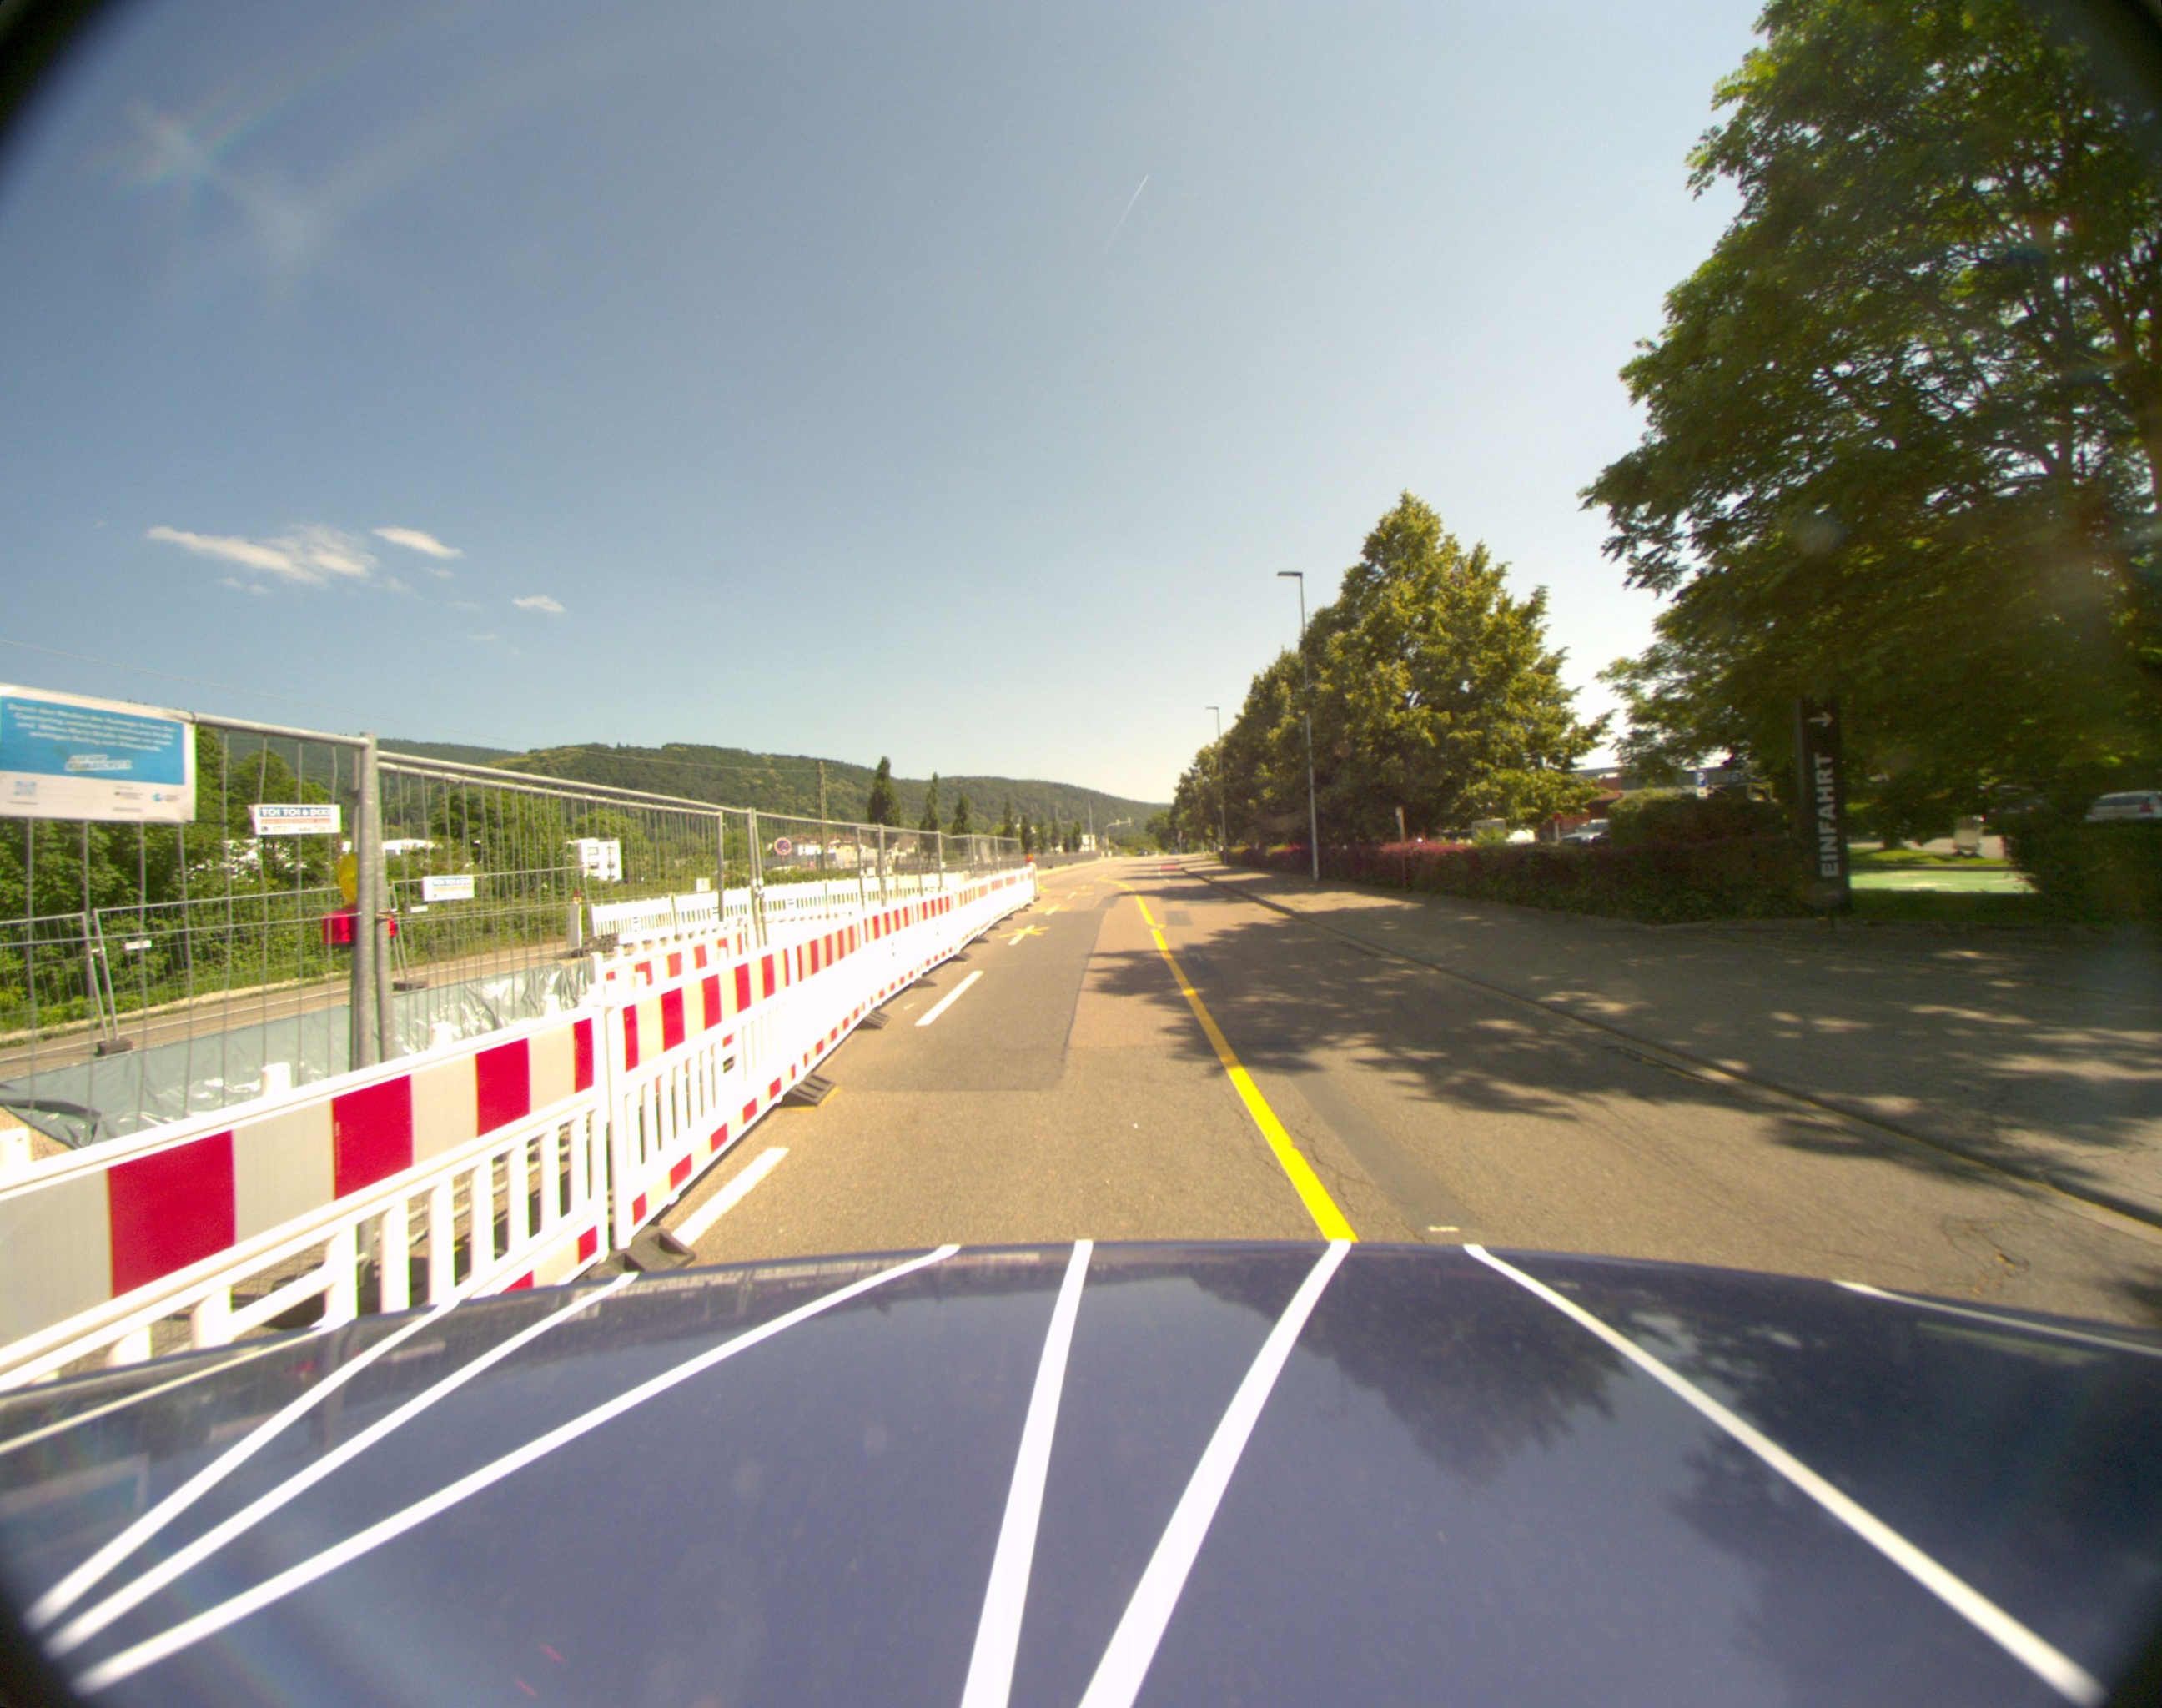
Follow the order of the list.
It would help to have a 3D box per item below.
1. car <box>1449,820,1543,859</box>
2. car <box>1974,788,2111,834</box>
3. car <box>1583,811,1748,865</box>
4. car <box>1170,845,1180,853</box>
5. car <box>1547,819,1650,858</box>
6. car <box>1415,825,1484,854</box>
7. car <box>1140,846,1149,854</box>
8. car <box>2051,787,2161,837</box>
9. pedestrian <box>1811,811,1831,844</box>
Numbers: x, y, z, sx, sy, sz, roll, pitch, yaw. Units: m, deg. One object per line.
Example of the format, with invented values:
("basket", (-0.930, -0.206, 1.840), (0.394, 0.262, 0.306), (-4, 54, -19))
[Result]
("car", (22.195, -0.775, 40.675), (4.355, 1.816, 1.747), (-3, 0, -15))
("car", (39.848, -1.770, 31.539), (3.869, 1.567, 1.818), (-4, 1, -8))
("car", (19.812, -0.537, 26.118), (2.072, 1.551, 5.031), (-3, 1, 5))
("car", (18.270, -1.038, 148.060), (1.609, 1.527, 3.683), (-3, 1, 4))
("car", (24.590, -0.741, 36.159), (3.811, 1.574, 1.903), (-4, 1, -13))
("car", (25.161, -0.960, 52.070), (1.761, 1.788, 4.222), (-4, 1, -18))
("car", (11.759, -0.765, 141.343), (1.609, 1.248, 3.683), (-3, 1, 4))
("car", (35.566, -1.454, 25.645), (4.048, 1.442, 1.793), (-4, 1, -10))
("pedestrian", (34.061, -1.201, 34.964), (0.514, 1.471, 0.537), (-3, 1, 32))
